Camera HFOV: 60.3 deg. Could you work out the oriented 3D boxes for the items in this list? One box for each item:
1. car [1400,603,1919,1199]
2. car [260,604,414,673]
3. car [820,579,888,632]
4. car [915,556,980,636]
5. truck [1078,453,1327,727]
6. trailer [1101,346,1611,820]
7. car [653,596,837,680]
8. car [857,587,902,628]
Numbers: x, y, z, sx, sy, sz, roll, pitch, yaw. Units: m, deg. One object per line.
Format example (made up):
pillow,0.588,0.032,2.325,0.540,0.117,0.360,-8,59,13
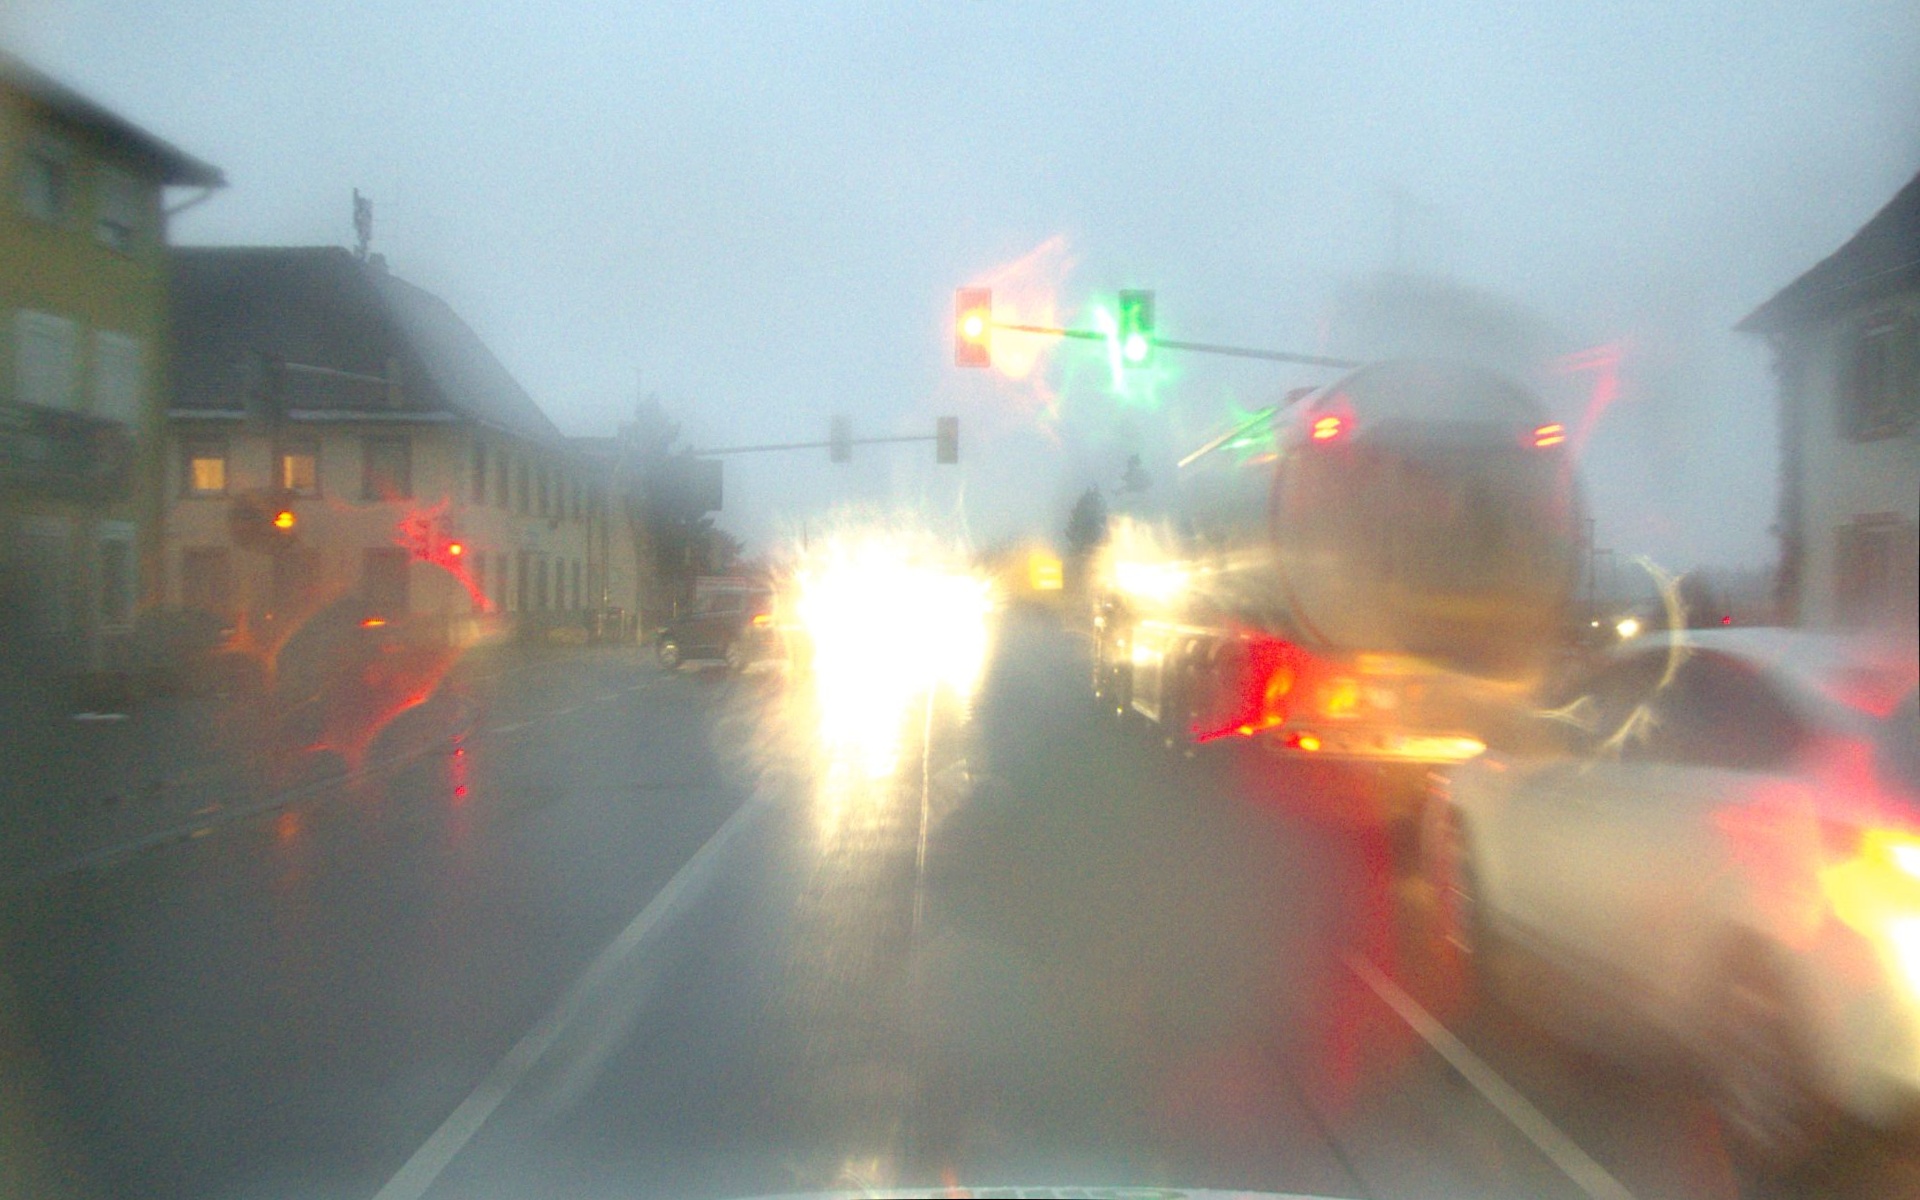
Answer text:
car,2.948,0.767,5.665,1.628,1.464,4.381,1,0,-1
car,-14.949,0.914,39.788,3.155,1.534,1.547,1,0,-7
car,-3.706,0.186,58.476,1.952,1.777,4.001,-1,0,2
car,-0.534,-0.149,65.469,2.352,2.943,6.248,2,0,-1
truck,3.155,-0.128,23.101,2.412,3.286,6.271,1,0,-1
trailer,3.251,-0.133,17.045,2.437,3.297,10.866,1,0,-1
car,-4.564,0.750,34.524,2.028,1.600,4.650,-1,0,-33
car,-3.606,0.336,74.389,1.685,1.753,3.929,-1,-1,2
